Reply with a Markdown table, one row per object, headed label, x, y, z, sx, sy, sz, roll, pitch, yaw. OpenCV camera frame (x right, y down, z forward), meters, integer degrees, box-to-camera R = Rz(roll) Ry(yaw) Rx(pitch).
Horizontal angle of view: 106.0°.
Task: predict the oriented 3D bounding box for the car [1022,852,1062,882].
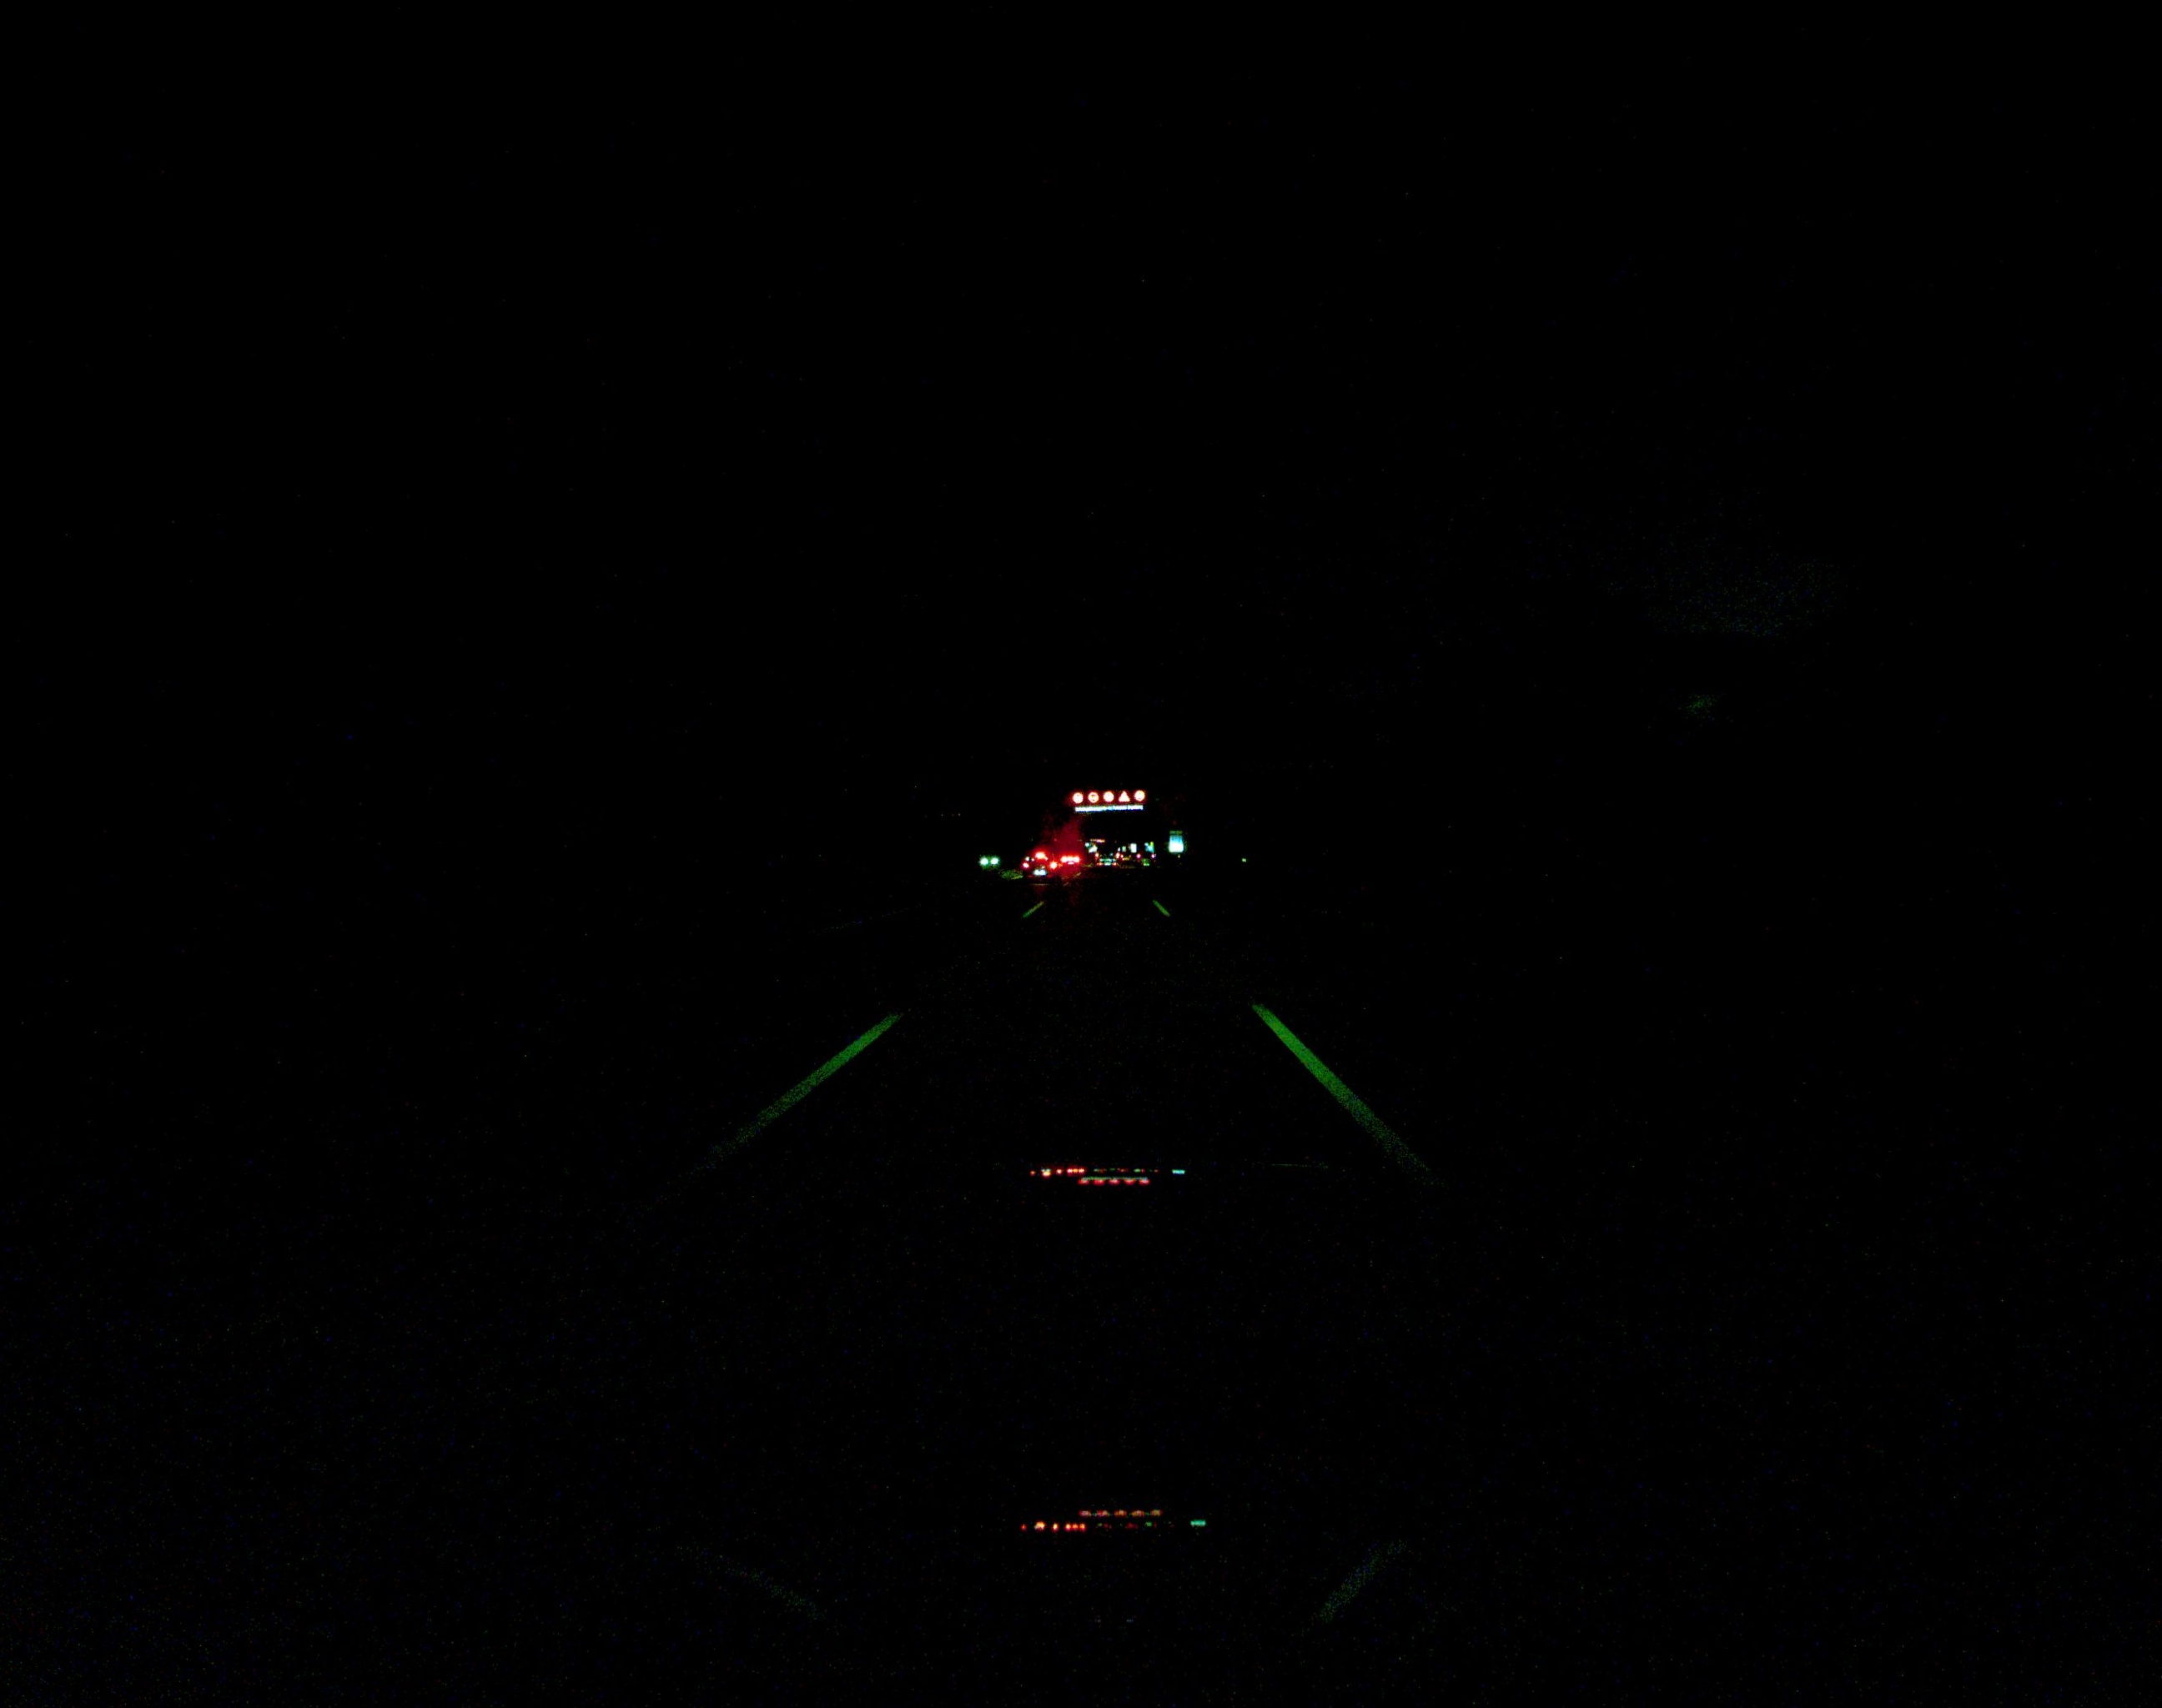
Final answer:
| label | x | y | z | sx | sy | sz | roll | pitch | yaw |
| --- | --- | --- | --- | --- | --- | --- | --- | --- | --- |
| car | -1.933 | 0.623 | 41.252 | 1.788 | 1.469 | 3.772 | 0 | 0 | 0 |

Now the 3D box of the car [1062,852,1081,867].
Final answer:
| label | x | y | z | sx | sy | sz | roll | pitch | yaw |
| --- | --- | --- | --- | --- | --- | --- | --- | --- | --- |
| car | -0.943 | 0.558 | 82.223 | 1.738 | 1.440 | 4.370 | -2 | 0 | 2 |

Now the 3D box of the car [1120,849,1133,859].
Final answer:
| label | x | y | z | sx | sy | sz | roll | pitch | yaw |
| --- | --- | --- | --- | --- | --- | --- | --- | --- | --- |
| car | 7.880 | -0.003 | 141.606 | 2.154 | 1.563 | 4.725 | -1 | 0 | 2 |

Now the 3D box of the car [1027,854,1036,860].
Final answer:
| label | x | y | z | sx | sy | sz | roll | pitch | yaw |
| --- | --- | --- | --- | --- | --- | --- | --- | --- | --- |
| car | -12.942 | 0.800 | 213.837 | 1.896 | 1.282 | 4.352 | -2 | 0 | 2 |

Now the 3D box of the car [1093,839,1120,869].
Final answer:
| label | x | y | z | sx | sy | sz | roll | pitch | yaw |
| --- | --- | --- | --- | --- | --- | --- | --- | --- | --- |
| car | 2.306 | 0.014 | 73.151 | 2.342 | 2.535 | 5.704 | -2 | 0 | 2 |

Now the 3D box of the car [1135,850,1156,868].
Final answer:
| label | x | y | z | sx | sy | sz | roll | pitch | yaw |
| --- | --- | --- | --- | --- | --- | --- | --- | --- | --- |
| car | 5.839 | 0.436 | 73.990 | 1.640 | 1.596 | 4.510 | 0 | 0 | 1 |

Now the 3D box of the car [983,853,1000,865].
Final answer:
| label | x | y | z | sx | sy | sz | roll | pitch | yaw |
| --- | --- | --- | --- | --- | --- | --- | --- | --- | --- |
| car | -12.334 | 0.705 | 112.309 | 1.897 | 1.617 | 4.403 | -2 | 0 | 0 |
